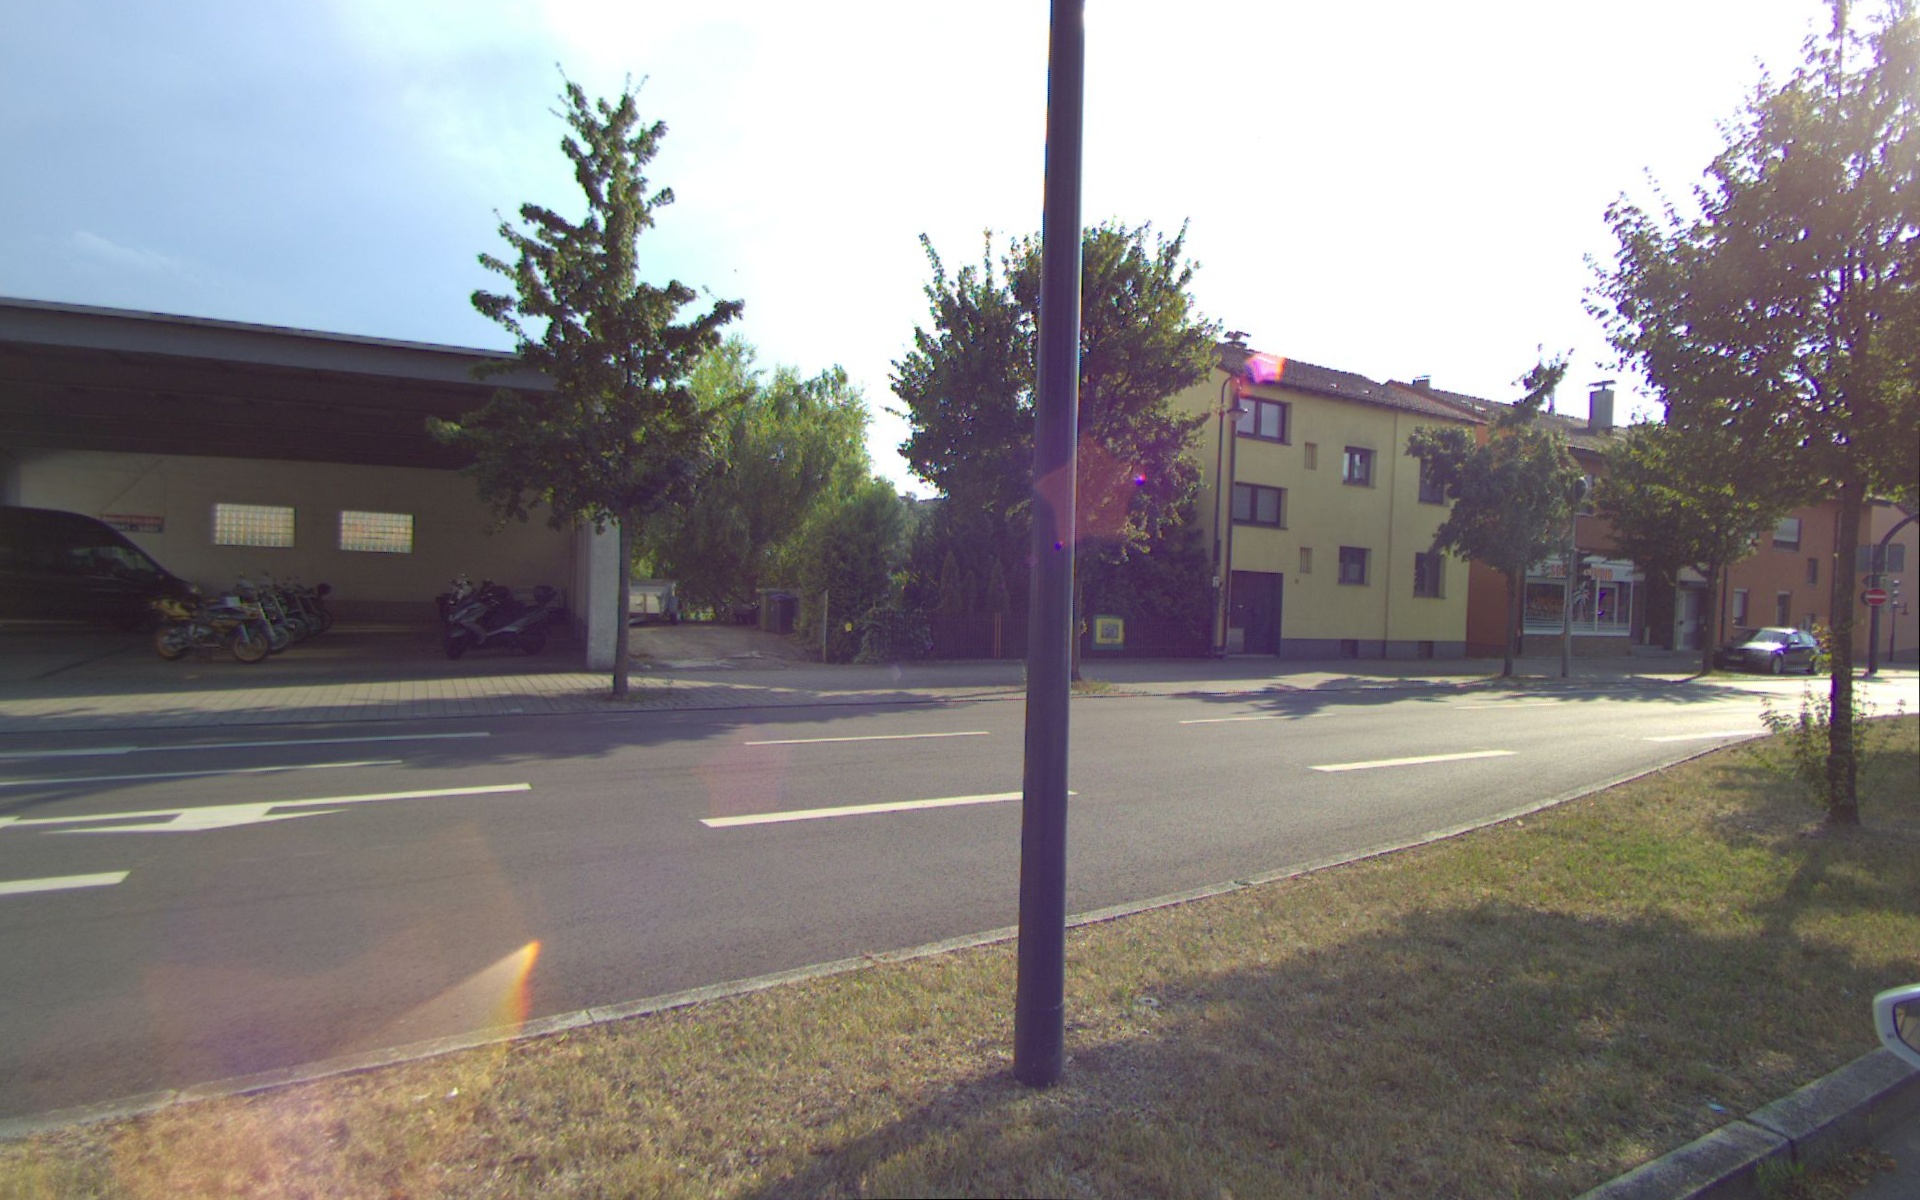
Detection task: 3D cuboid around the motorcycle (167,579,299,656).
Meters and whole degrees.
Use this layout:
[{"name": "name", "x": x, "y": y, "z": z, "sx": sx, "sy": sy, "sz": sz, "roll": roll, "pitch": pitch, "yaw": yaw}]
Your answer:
[{"name": "motorcycle", "x": -13.639, "y": 0.319, "z": 18.859, "sx": 2.219, "sy": 1.354, "sz": 0.631, "roll": 1, "pitch": 0, "yaw": 10}]

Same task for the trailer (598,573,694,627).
[{"name": "trailer", "x": -8.224, "y": -0.008, "z": 26.615, "sx": 1.698, "sy": 1.280, "sz": 3.995, "roll": 1, "pitch": 0, "yaw": -7}]

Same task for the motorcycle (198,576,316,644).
[{"name": "motorcycle", "x": -14.760, "y": 0.204, "z": 21.102, "sx": 2.219, "sy": 1.354, "sz": 0.631, "roll": 1, "pitch": 0, "yaw": 10}]

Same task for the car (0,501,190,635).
[{"name": "car", "x": -20.459, "y": -0.683, "z": 22.088, "sx": 1.962, "sy": 2.789, "sz": 5.280, "roll": 1, "pitch": 0, "yaw": 26}]

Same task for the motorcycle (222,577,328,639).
[{"name": "motorcycle", "x": -15.891, "y": 0.180, "z": 23.311, "sx": 2.219, "sy": 1.354, "sz": 0.631, "roll": 1, "pitch": 0, "yaw": 10}]

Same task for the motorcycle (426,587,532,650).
[{"name": "motorcycle", "x": -10.749, "y": 0.383, "z": 22.534, "sx": 0.621, "sy": 1.314, "sz": 2.113, "roll": 1, "pitch": 2, "yaw": 36}]

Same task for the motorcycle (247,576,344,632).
[{"name": "motorcycle", "x": -16.916, "y": 0.101, "z": 25.570, "sx": 2.219, "sy": 1.354, "sz": 0.631, "roll": 1, "pitch": 0, "yaw": 10}]

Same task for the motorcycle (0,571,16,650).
[{"name": "motorcycle", "x": -17.294, "y": 0.169, "z": 16.721, "sx": 0.619, "sy": 1.380, "sz": 2.225, "roll": 1, "pitch": 0, "yaw": 24}]

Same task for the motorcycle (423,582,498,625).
[{"name": "motorcycle", "x": -15.967, "y": 0.098, "z": 32.174, "sx": 0.621, "sy": 1.314, "sz": 2.113, "roll": 1, "pitch": 2, "yaw": 36}]

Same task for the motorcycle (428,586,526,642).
[{"name": "motorcycle", "x": -11.774, "y": 0.311, "z": 24.535, "sx": 0.621, "sy": 1.314, "sz": 2.113, "roll": 1, "pitch": 2, "yaw": 36}]

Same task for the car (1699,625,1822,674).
[{"name": "car", "x": 25.962, "y": 1.594, "z": 32.554, "sx": 3.953, "sy": 1.319, "sz": 1.728, "roll": 1, "pitch": 4, "yaw": -30}]

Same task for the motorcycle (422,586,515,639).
[{"name": "motorcycle", "x": -12.656, "y": 0.290, "z": 25.918, "sx": 0.621, "sy": 1.314, "sz": 2.113, "roll": 1, "pitch": 2, "yaw": 36}]

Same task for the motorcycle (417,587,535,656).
[{"name": "motorcycle", "x": -9.819, "y": 0.401, "z": 20.457, "sx": 0.621, "sy": 1.314, "sz": 2.113, "roll": 1, "pitch": 2, "yaw": 36}]

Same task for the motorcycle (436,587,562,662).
[{"name": "motorcycle", "x": -8.626, "y": 0.430, "z": 18.895, "sx": 0.621, "sy": 1.314, "sz": 2.113, "roll": 1, "pitch": 2, "yaw": 36}]

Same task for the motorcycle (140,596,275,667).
[{"name": "motorcycle", "x": -12.503, "y": 0.504, "z": 16.694, "sx": 1.993, "sy": 1.101, "sz": 0.631, "roll": 1, "pitch": 0, "yaw": 12}]

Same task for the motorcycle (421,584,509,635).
[{"name": "motorcycle", "x": -13.520, "y": 0.238, "z": 27.516, "sx": 0.621, "sy": 1.314, "sz": 2.113, "roll": 1, "pitch": 2, "yaw": 36}]
